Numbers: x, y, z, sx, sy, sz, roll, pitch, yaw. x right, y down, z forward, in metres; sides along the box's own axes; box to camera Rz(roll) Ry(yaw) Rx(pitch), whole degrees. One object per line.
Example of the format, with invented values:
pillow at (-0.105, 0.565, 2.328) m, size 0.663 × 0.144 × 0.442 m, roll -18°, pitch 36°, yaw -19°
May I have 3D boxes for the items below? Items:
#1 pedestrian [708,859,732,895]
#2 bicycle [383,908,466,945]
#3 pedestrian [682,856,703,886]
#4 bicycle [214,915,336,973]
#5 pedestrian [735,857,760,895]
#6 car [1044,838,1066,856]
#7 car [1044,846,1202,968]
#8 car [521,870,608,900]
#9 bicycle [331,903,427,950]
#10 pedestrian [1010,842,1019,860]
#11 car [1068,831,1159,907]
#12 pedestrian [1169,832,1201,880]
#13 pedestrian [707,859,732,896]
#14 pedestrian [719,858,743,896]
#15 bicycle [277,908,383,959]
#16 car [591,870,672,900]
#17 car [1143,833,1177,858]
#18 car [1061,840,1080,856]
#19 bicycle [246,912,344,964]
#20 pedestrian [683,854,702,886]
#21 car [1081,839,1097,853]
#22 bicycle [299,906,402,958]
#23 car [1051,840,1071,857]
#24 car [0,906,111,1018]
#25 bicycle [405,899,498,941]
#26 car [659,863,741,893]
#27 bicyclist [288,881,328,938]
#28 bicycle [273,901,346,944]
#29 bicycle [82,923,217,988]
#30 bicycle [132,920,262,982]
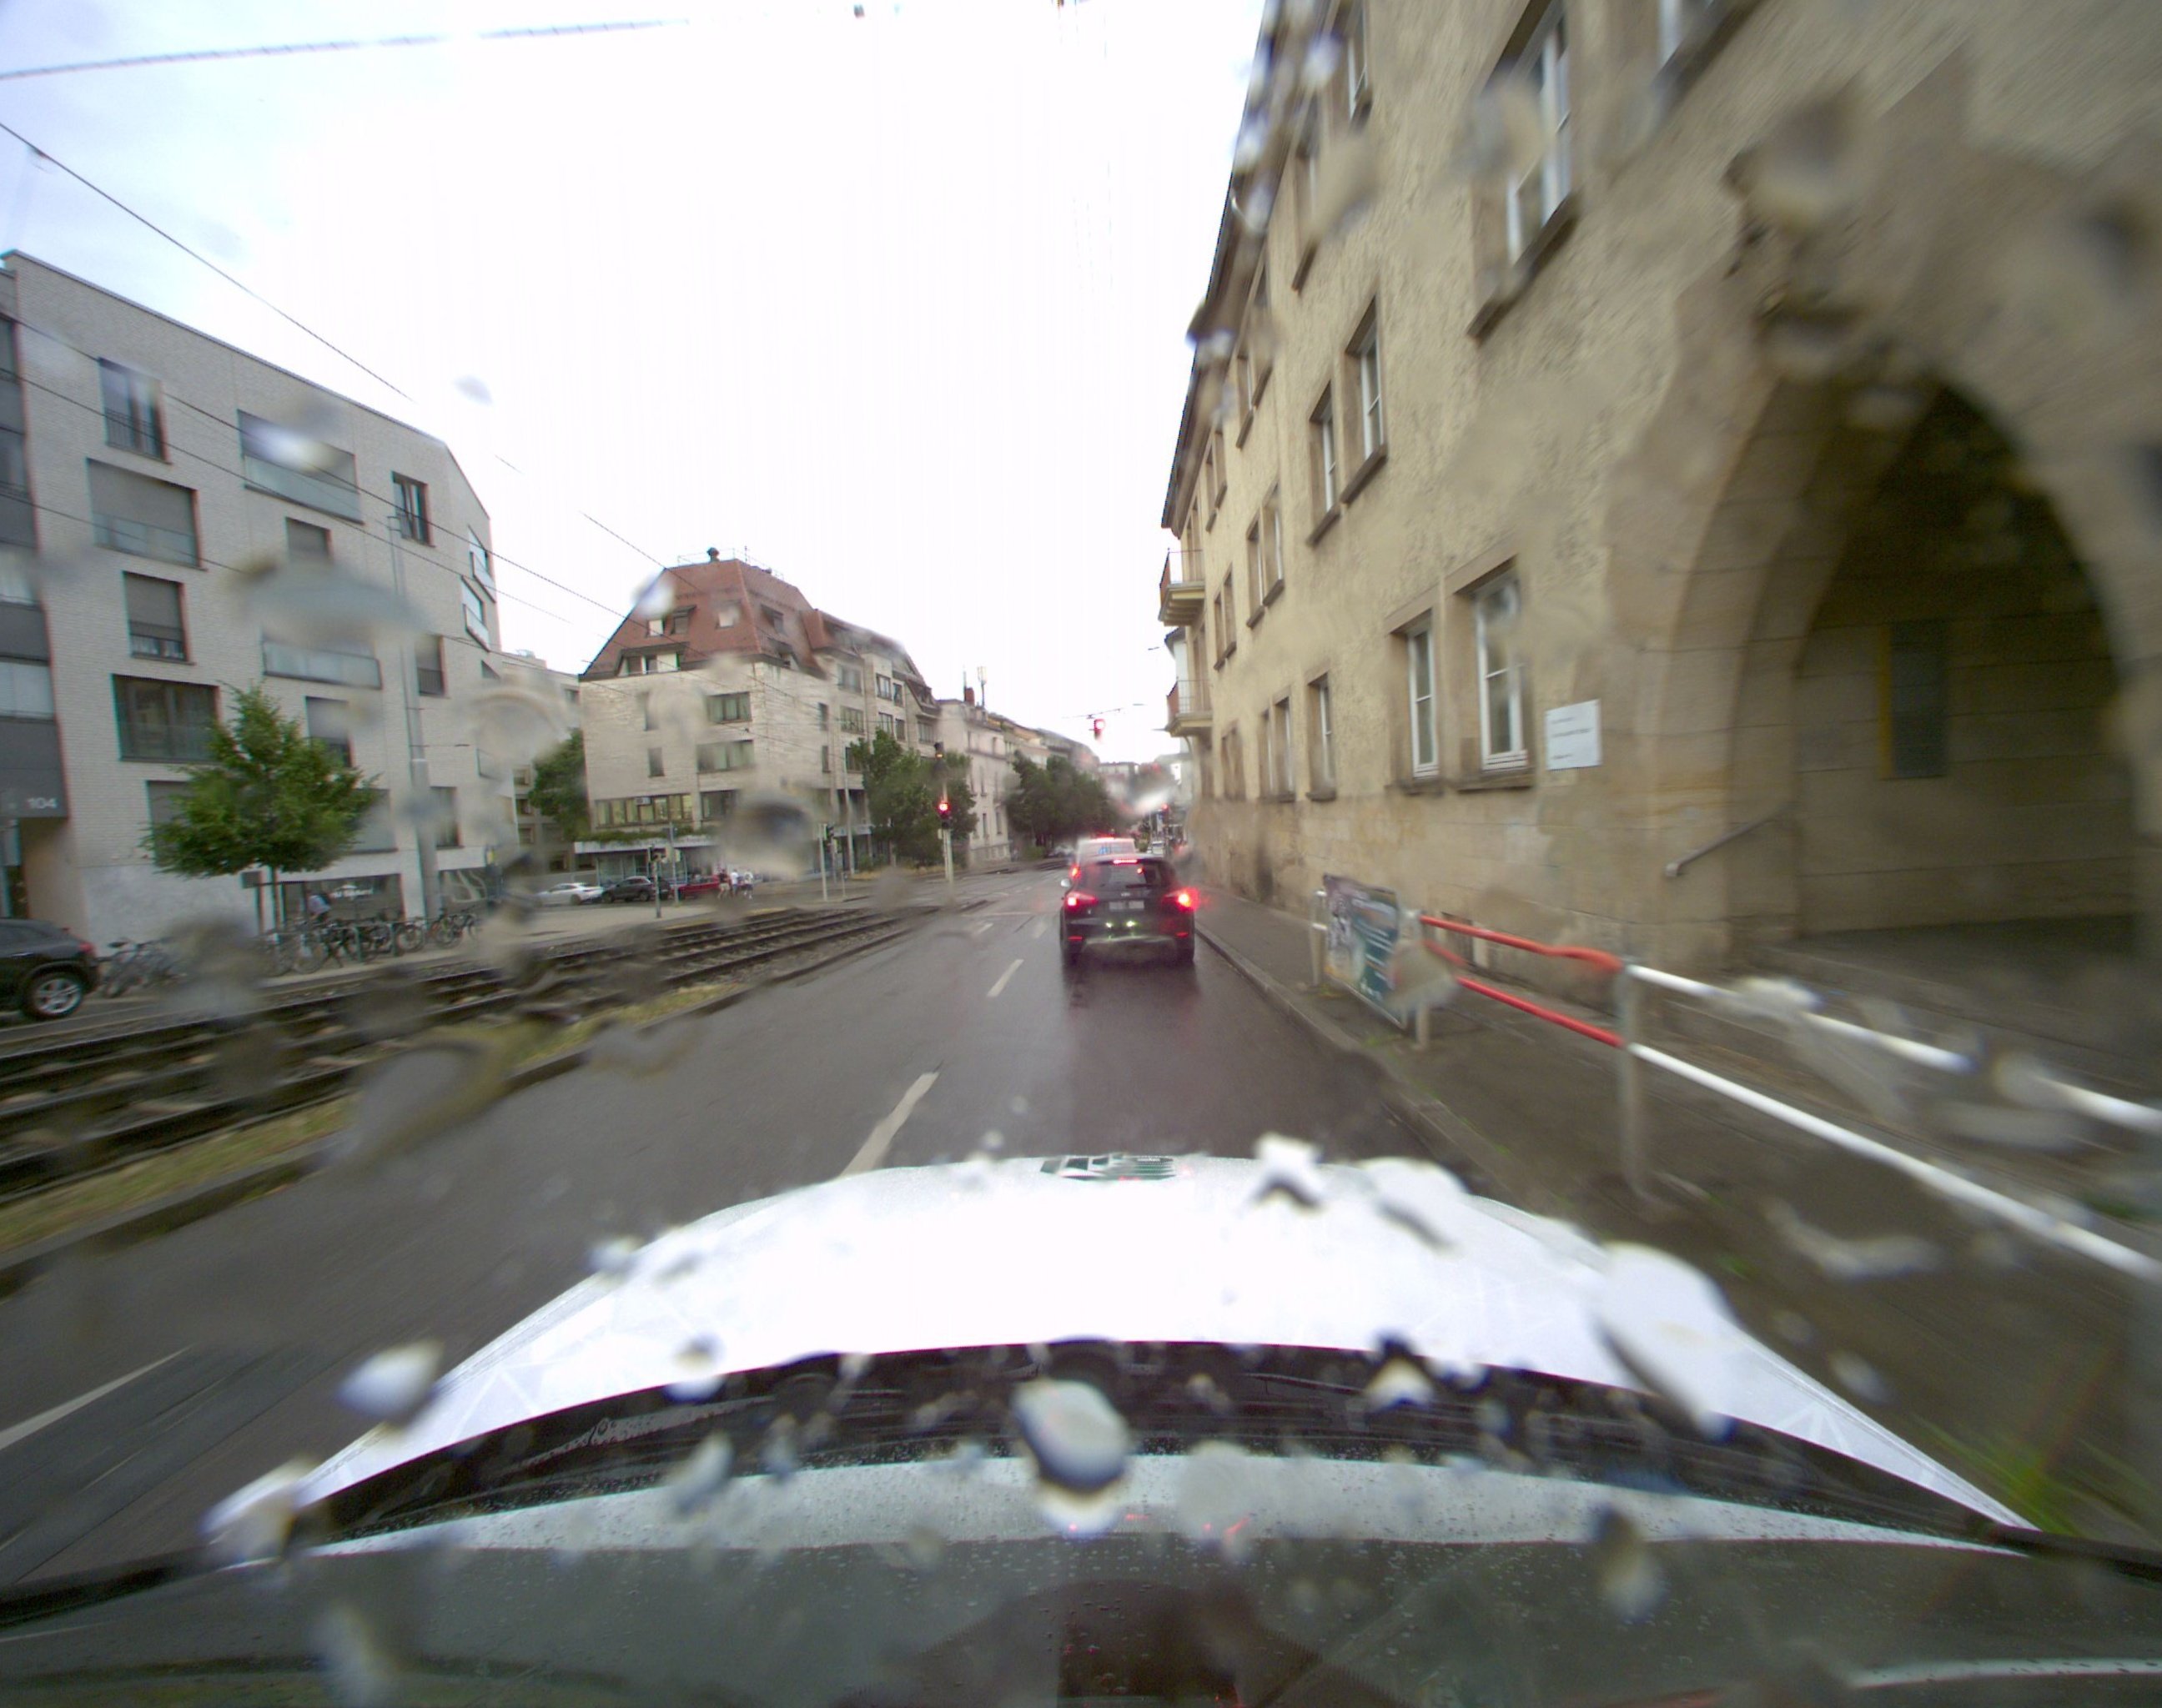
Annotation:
pedestrian at (-20.773, 1.317, 46.882) m, size 0.939 × 2.013 × 0.764 m, roll -3°, pitch 0°, yaw -2°
bicycle at (-17.677, 1.935, 21.951) m, size 1.649 × 0.866 × 0.567 m, roll -2°, pitch 0°, yaw -9°
pedestrian at (-26.069, 1.132, 54.690) m, size 0.902 × 1.931 × 0.825 m, roll -4°, pitch 0°, yaw 0°
bicycle at (-16.855, 1.866, 17.063) m, size 1.798 × 1.064 × 0.455 m, roll -2°, pitch 0°, yaw -13°
pedestrian at (-18.423, 1.219, 44.994) m, size 0.938 × 2.013 × 0.765 m, roll -3°, pitch 0°, yaw 1°
car at (-3.188, -0.839, 99.418) m, size 1.983 × 2.013 × 4.008 m, roll -3°, pitch 0°, yaw 7°
car at (0.701, 0.652, 12.049) m, size 1.911 × 1.479 × 4.006 m, roll -1°, pitch 0°, yaw 5°
car at (-32.329, 1.938, 51.025) m, size 4.431 × 1.568 × 1.914 m, roll -3°, pitch 0°, yaw 10°
bicycle at (-18.161, 1.866, 21.103) m, size 1.797 × 1.064 × 0.567 m, roll -2°, pitch 0°, yaw -11°
pedestrian at (-7.426, -0.345, 90.664) m, size 0.941 × 2.013 × 0.763 m, roll -3°, pitch 0°, yaw -8°
car at (0.855, 0.342, 22.142) m, size 2.129 × 1.745 × 4.220 m, roll -3°, pitch 1°, yaw 1°
pedestrian at (4.003, 0.065, 31.368) m, size 1.041 × 1.795 × 0.902 m, roll -3°, pitch 0°, yaw 0°
pedestrian at (-20.252, 1.308, 45.634) m, size 0.939 × 2.013 × 0.764 m, roll -3°, pitch 0°, yaw -2°
pedestrian at (-19.383, 1.266, 45.088) m, size 0.939 × 2.013 × 0.764 m, roll -3°, pitch 0°, yaw -2°
bicycle at (-17.566, 1.844, 19.086) m, size 1.798 × 1.064 × 0.455 m, roll -2°, pitch 0°, yaw -13°
car at (-27.712, 1.917, 50.255) m, size 4.107 × 1.568 × 1.829 m, roll -3°, pitch 0°, yaw 10°
car at (5.964, -0.661, 61.450) m, size 1.980 × 1.772 × 4.014 m, roll -3°, pitch 0°, yaw 13°
car at (-1.373, -0.817, 112.011) m, size 1.983 × 2.013 × 4.008 m, roll -3°, pitch 0°, yaw 7°
bicycle at (-17.366, 1.850, 18.006) m, size 1.760 × 1.071 × 0.486 m, roll -2°, pitch 0°, yaw 4°
pedestrian at (-25.509, 1.053, 53.491) m, size 0.790 × 2.013 × 0.706 m, roll -2°, pitch 0°, yaw 9°
car at (1.216, -1.235, 123.312) m, size 1.983 × 2.013 × 4.008 m, roll -3°, pitch 0°, yaw 7°
bicycle at (-17.746, 1.876, 19.819) m, size 1.802 × 1.108 × 0.453 m, roll -2°, pitch 0°, yaw -18°
car at (-2.553, -0.760, 105.614) m, size 1.983 × 2.013 × 4.008 m, roll -3°, pitch 0°, yaw 7°
car at (-16.372, 1.642, 10.801) m, size 1.906 × 1.504 × 4.234 m, roll -3°, pitch 0°, yaw -1°
bicycle at (-17.758, 1.848, 23.009) m, size 1.947 × 1.027 × 0.719 m, roll -2°, pitch 0°, yaw -7°
car at (-22.983, 1.421, 49.179) m, size 4.107 × 1.568 × 1.829 m, roll -3°, pitch 0°, yaw 10°
bicyclist at (-22.251, 1.572, 23.451) m, size 0.460 × 1.574 × 0.701 m, roll -2°, pitch 0°, yaw -5°
bicycle at (-22.237, 1.956, 23.514) m, size 0.455 × 1.064 × 1.800 m, roll -2°, pitch 0°, yaw -4°
bicycle at (-17.256, 1.867, 15.108) m, size 1.794 × 1.064 × 0.456 m, roll -2°, pitch 0°, yaw -6°
bicycle at (-17.312, 1.896, 15.976) m, size 1.796 × 1.064 × 0.456 m, roll -2°, pitch 0°, yaw -10°
